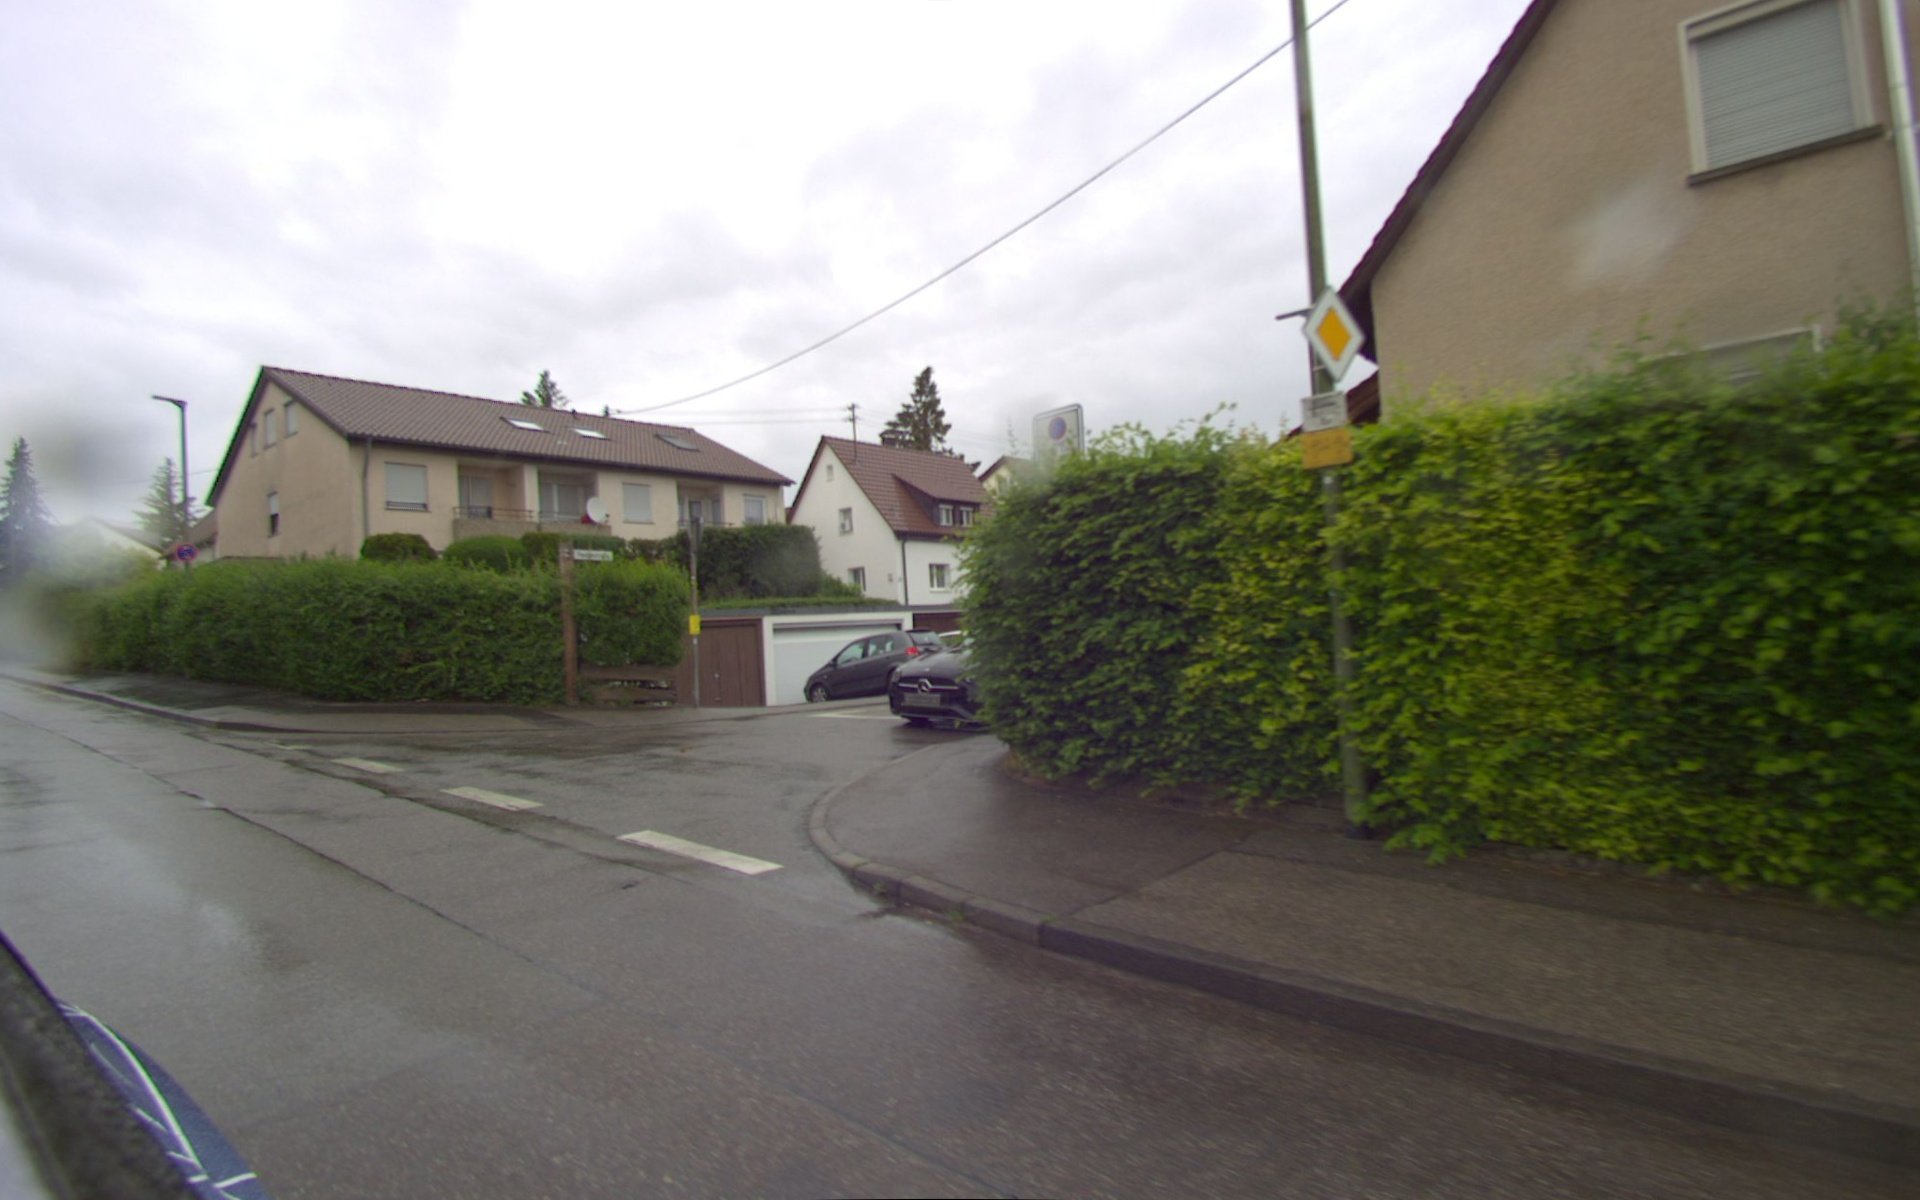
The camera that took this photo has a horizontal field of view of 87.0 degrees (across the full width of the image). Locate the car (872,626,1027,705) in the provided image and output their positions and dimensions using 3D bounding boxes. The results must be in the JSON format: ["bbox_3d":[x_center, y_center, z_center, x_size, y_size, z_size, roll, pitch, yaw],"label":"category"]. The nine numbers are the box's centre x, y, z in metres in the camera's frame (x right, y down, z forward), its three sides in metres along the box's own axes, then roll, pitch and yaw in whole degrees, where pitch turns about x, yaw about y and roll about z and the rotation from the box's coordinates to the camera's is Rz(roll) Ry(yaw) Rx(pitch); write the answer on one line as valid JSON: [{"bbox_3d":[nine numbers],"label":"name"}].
[{"bbox_3d":[-0.294,1.628,24.933,3.439,1.449,1.627,-12,-9,37],"label":"car"}]

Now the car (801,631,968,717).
[{"bbox_3d":[-1.755,1.703,23.066,3.439,1.468,1.701,-12,-9,37],"label":"car"}]

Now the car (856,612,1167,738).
[{"bbox_3d":[0.877,0.908,13.913,1.893,1.409,4.534,-2,-2,41],"label":"car"}]
